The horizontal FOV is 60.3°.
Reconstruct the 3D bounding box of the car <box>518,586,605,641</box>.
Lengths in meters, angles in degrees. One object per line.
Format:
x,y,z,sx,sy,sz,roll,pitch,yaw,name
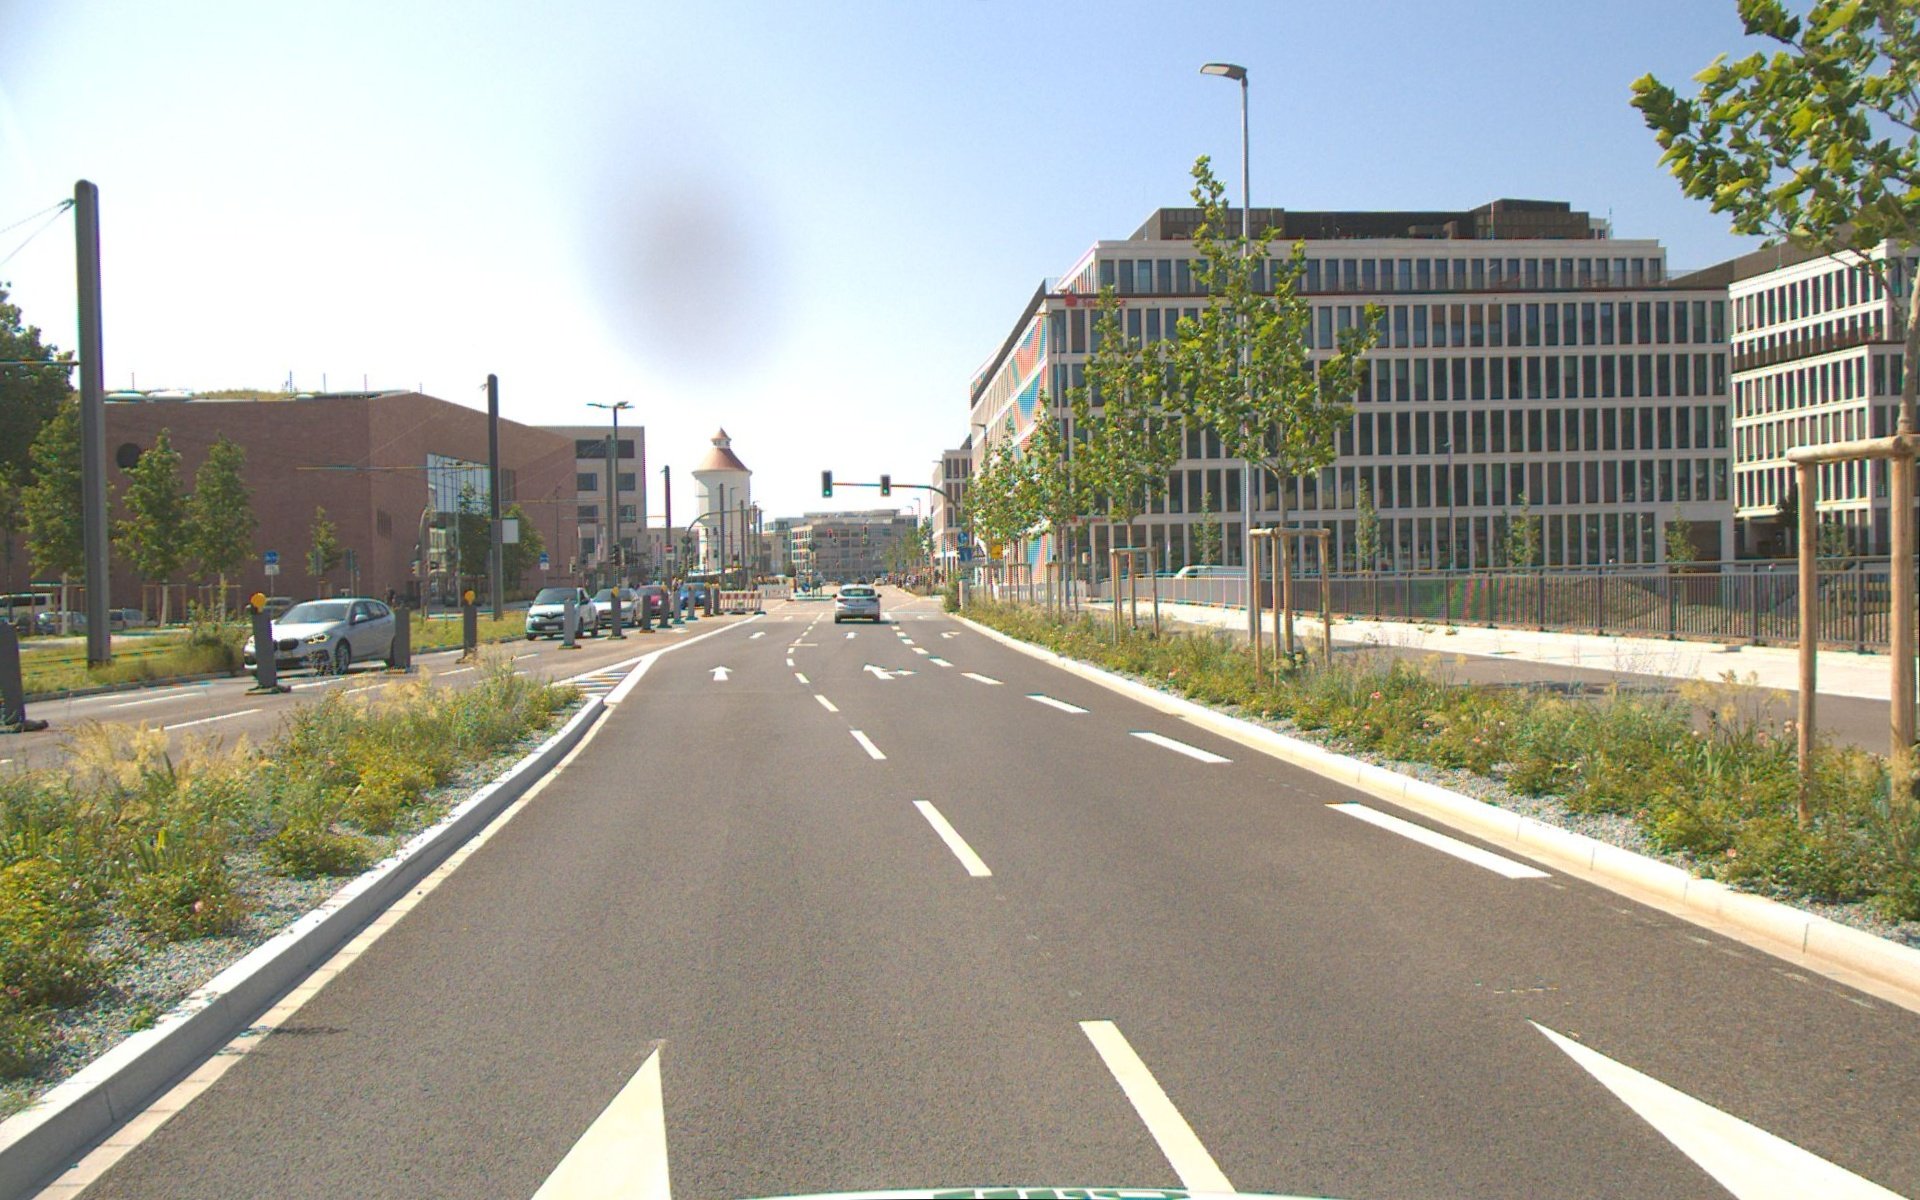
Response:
-12.310,0.387,51.266,1.547,1.556,3.622,-3,0,3,car

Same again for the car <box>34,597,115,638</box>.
-39.927,0.763,74.660,1.664,1.792,3.937,-1,0,-3,car

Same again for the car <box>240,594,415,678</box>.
-12.604,0.668,33.260,1.639,1.468,4.469,-3,0,1,car

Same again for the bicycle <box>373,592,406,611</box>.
-37.482,0.094,108.691,2.016,1.233,0.537,-1,0,-15,bicycle

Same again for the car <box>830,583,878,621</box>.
-4.089,0.078,64.498,1.736,1.419,3.530,0,0,-2,car

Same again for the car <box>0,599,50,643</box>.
-40.181,0.869,69.439,1.664,1.792,4.528,-1,0,-3,car

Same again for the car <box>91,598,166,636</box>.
-40.537,0.795,80.710,1.664,1.792,4.298,-1,0,-3,car

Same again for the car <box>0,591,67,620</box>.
-57.211,0.304,101.900,3.472,1.719,1.693,-1,1,-3,car

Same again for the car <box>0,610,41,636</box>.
-54.796,1.332,94.038,3.904,1.427,2.000,-1,0,2,car

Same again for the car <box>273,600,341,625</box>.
-38.655,0.723,98.010,3.410,1.393,1.572,-1,1,-5,car

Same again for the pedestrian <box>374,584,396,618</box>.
-32.651,0.048,93.879,0.794,1.879,1.108,-1,1,3,pedestrian

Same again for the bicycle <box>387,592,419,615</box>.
-38.176,0.247,113.326,2.016,1.478,0.537,-1,1,-15,bicycle

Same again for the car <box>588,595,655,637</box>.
-12.690,0.583,62.195,1.547,1.441,4.297,-2,0,1,car

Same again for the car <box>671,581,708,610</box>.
-14.928,-0.264,91.295,1.596,1.452,4.286,-2,1,-4,car

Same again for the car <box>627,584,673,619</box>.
-13.805,0.041,73.811,1.549,1.441,3.996,-2,0,-4,car

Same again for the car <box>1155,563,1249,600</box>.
15.713,-1.194,107.493,5.721,2.310,2.145,1,1,-4,car
